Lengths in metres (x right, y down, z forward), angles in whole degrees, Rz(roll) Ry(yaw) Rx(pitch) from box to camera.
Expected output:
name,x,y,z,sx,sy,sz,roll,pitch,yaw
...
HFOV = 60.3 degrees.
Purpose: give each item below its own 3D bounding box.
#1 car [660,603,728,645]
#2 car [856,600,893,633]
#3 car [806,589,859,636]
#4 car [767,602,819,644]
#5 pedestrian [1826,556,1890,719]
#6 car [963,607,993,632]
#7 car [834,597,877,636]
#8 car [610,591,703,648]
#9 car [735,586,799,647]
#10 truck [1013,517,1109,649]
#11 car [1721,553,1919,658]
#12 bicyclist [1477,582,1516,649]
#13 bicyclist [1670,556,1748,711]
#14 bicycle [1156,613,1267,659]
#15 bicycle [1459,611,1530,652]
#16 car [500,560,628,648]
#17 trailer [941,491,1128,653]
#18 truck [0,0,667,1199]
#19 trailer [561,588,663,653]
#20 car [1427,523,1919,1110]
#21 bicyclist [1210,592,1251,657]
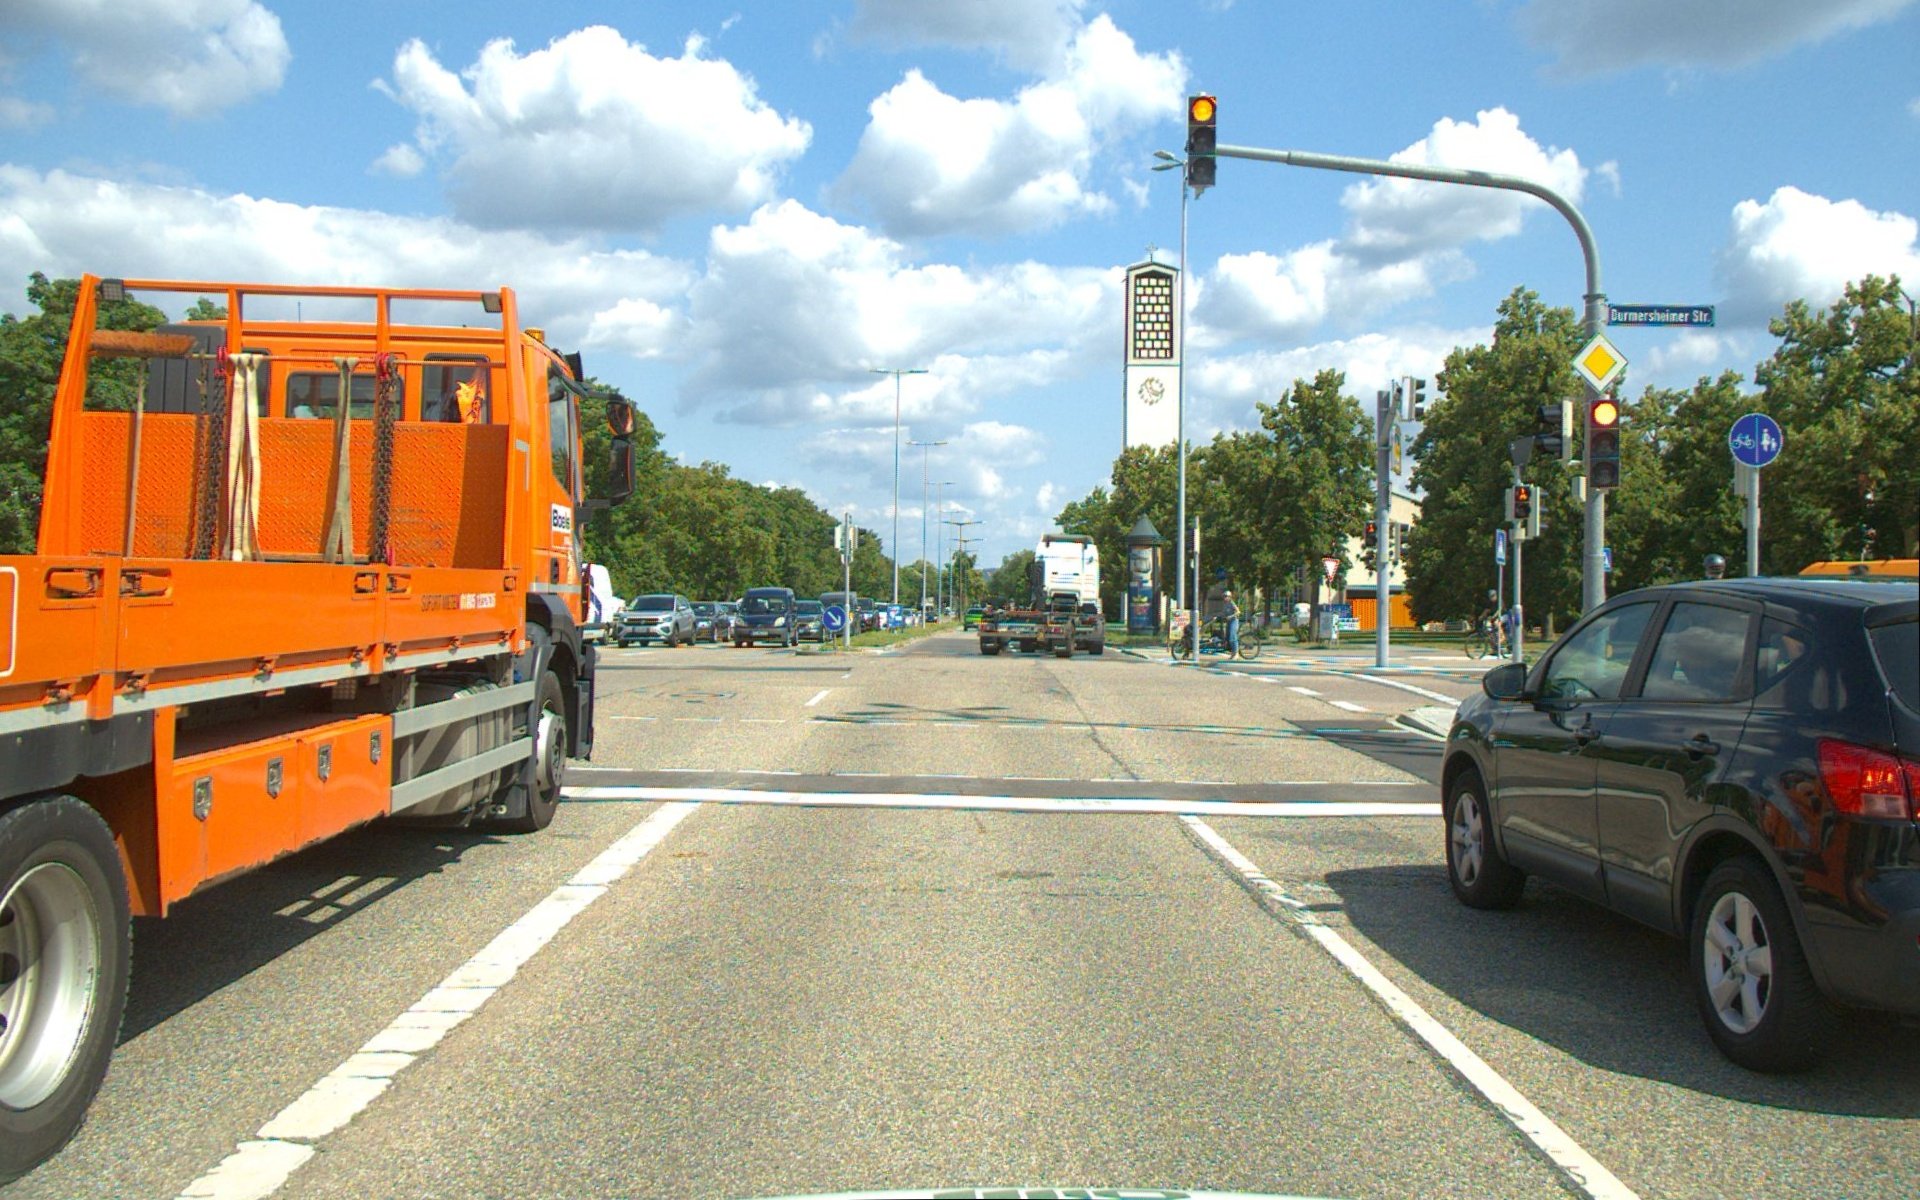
name,x,y,z,sx,sy,sz,roll,pitch,yaw
car,-9.032,0.804,56.408,1.727,1.375,3.518,1,-1,0
car,-4.590,0.894,89.440,1.699,1.689,4.231,2,-1,1
car,-4.977,0.477,64.951,1.699,1.689,4.231,2,1,0
car,-5.767,0.795,57.417,1.537,1.339,3.430,2,-1,-2
pedestrian,10.239,0.426,18.862,0.454,1.810,0.482,2,-1,9
car,1.192,1.338,112.250,1.953,1.579,3.999,2,-1,0
car,-4.906,0.779,78.171,1.699,1.689,4.230,2,-1,0
car,-9.113,0.590,50.007,1.698,1.570,4.311,2,-1,4
car,-5.784,0.487,49.862,1.701,1.689,4.226,2,-1,-5
truck,3.413,-0.449,55.578,2.897,4.040,8.641,1,-1,4
car,20.630,0.135,38.959,4.752,2.264,2.208,2,-1,28
bicyclist,14.898,0.431,45.967,0.777,1.836,0.680,1,-1,-25
bicyclist,8.427,0.370,18.630,0.634,1.690,0.650,2,-1,14
bicycle,6.375,0.912,41.867,2.796,1.131,0.791,1,0,-24
bicycle,14.847,0.883,45.943,1.972,1.113,0.680,1,0,-26
car,-12.294,0.144,51.823,2.128,2.514,5.970,2,-1,4
trailer,2.430,-0.614,47.407,3.543,4.082,11.327,1,-1,12
truck,-3.366,-0.439,5.634,3.009,3.474,11.063,2,-1,-2
trailer,-11.995,0.716,57.416,2.080,2.049,5.163,2,-1,4
car,3.368,0.634,6.498,1.763,1.579,3.998,2,-1,-2
bicyclist,6.880,0.624,42.090,0.689,1.644,0.791,1,0,-24
